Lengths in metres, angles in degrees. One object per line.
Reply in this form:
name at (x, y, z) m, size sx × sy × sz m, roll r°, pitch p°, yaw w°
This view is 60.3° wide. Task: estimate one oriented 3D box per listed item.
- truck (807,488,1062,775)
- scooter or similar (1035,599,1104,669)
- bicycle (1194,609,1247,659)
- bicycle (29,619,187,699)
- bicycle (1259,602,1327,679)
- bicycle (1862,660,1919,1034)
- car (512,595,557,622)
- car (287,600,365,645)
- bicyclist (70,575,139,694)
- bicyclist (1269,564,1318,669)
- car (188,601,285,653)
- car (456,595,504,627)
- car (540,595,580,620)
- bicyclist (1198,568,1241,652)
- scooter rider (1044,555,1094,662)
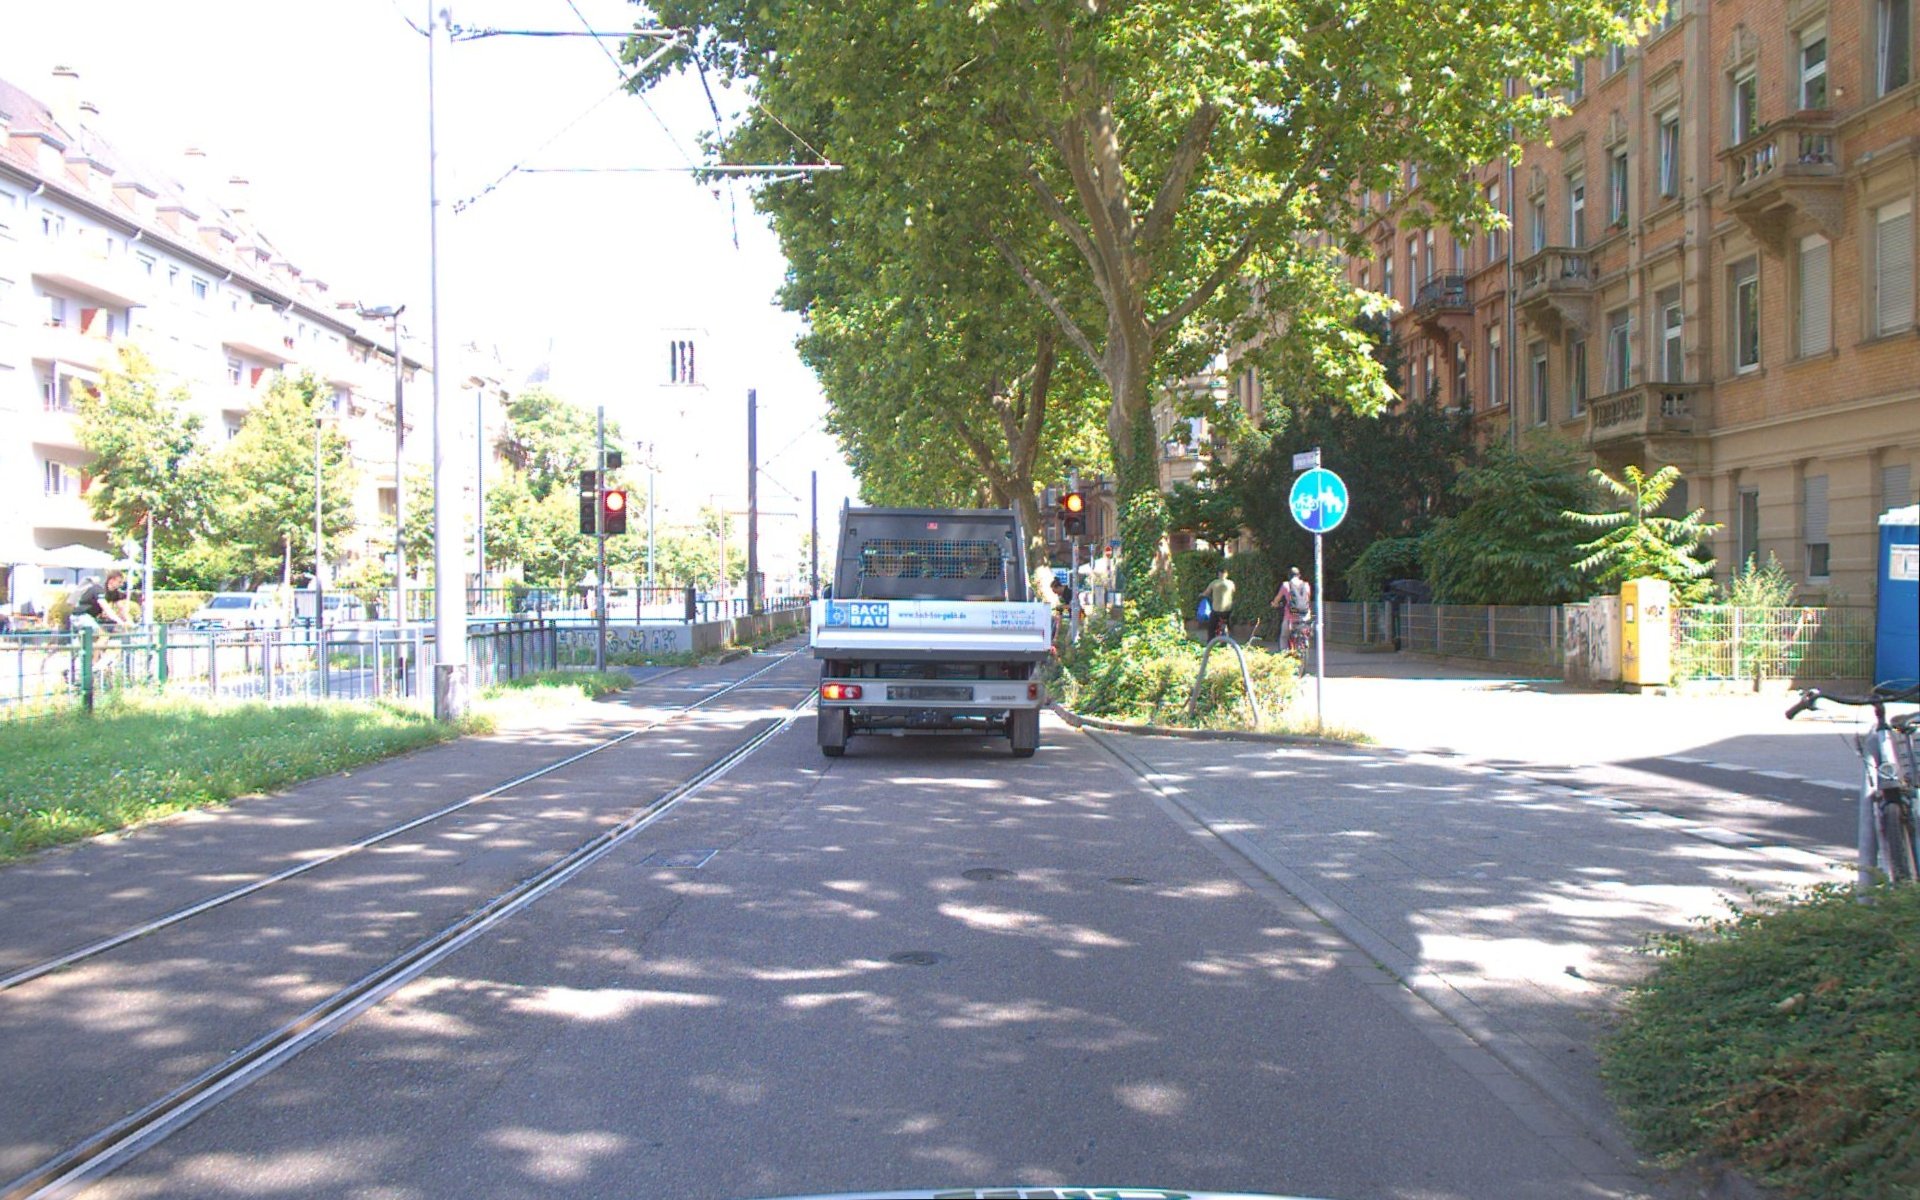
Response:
truck at (-0.248, 0.254, 16.106) m, size 2.095 × 2.359 × 4.400 m, roll 1°, pitch 0°, yaw -1°
scooter or similar at (1.985, 0.602, 29.925) m, size 0.644 × 1.225 × 1.265 m, roll 0°, pitch 0°, yaw 38°
bicycle at (5.003, 0.642, 31.883) m, size 0.661 × 0.897 × 2.163 m, roll -1°, pitch 0°, yaw -1°
bicycle at (-11.952, 0.818, 23.238) m, size 1.884 × 1.067 × 0.531 m, roll -1°, pitch 0°, yaw -9°
bicycle at (5.197, 0.608, 25.921) m, size 0.554 × 1.131 × 2.310 m, roll -1°, pitch 0°, yaw -1°
bicycle at (3.496, 0.813, 5.949) m, size 0.413 × 1.125 × 1.614 m, roll -1°, pitch 0°, yaw 28°
car at (-24.775, 0.475, 96.396) m, size 1.735 × 1.524 × 3.998 m, roll -1°, pitch 0°, yaw -3°
car at (-23.449, 0.805, 61.292) m, size 1.737 × 1.524 × 3.993 m, roll -2°, pitch 0°, yaw -7°
bicyclist at (-12.015, 0.477, 23.234) m, size 0.680 × 1.651 × 0.623 m, roll 0°, pitch 0°, yaw -9°
bicyclist at (5.189, 0.251, 25.768) m, size 0.625 × 1.601 × 0.579 m, roll -1°, pitch 0°, yaw -1°
car at (-23.048, 0.835, 52.858) m, size 1.737 × 1.524 × 3.993 m, roll -2°, pitch 0°, yaw -7°
car at (-24.065, 0.527, 83.052) m, size 1.737 × 1.524 × 3.993 m, roll -1°, pitch 0°, yaw -8°
car at (-25.197, 0.443, 104.220) m, size 1.735 × 1.524 × 3.998 m, roll -1°, pitch 0°, yaw -3°
bicyclist at (4.998, 0.189, 31.885) m, size 0.667 × 1.591 × 0.777 m, roll -1°, pitch 0°, yaw -1°
scooter rider at (1.972, 0.149, 29.922) m, size 0.651 × 1.899 × 0.666 m, roll 0°, pitch 0°, yaw 38°
